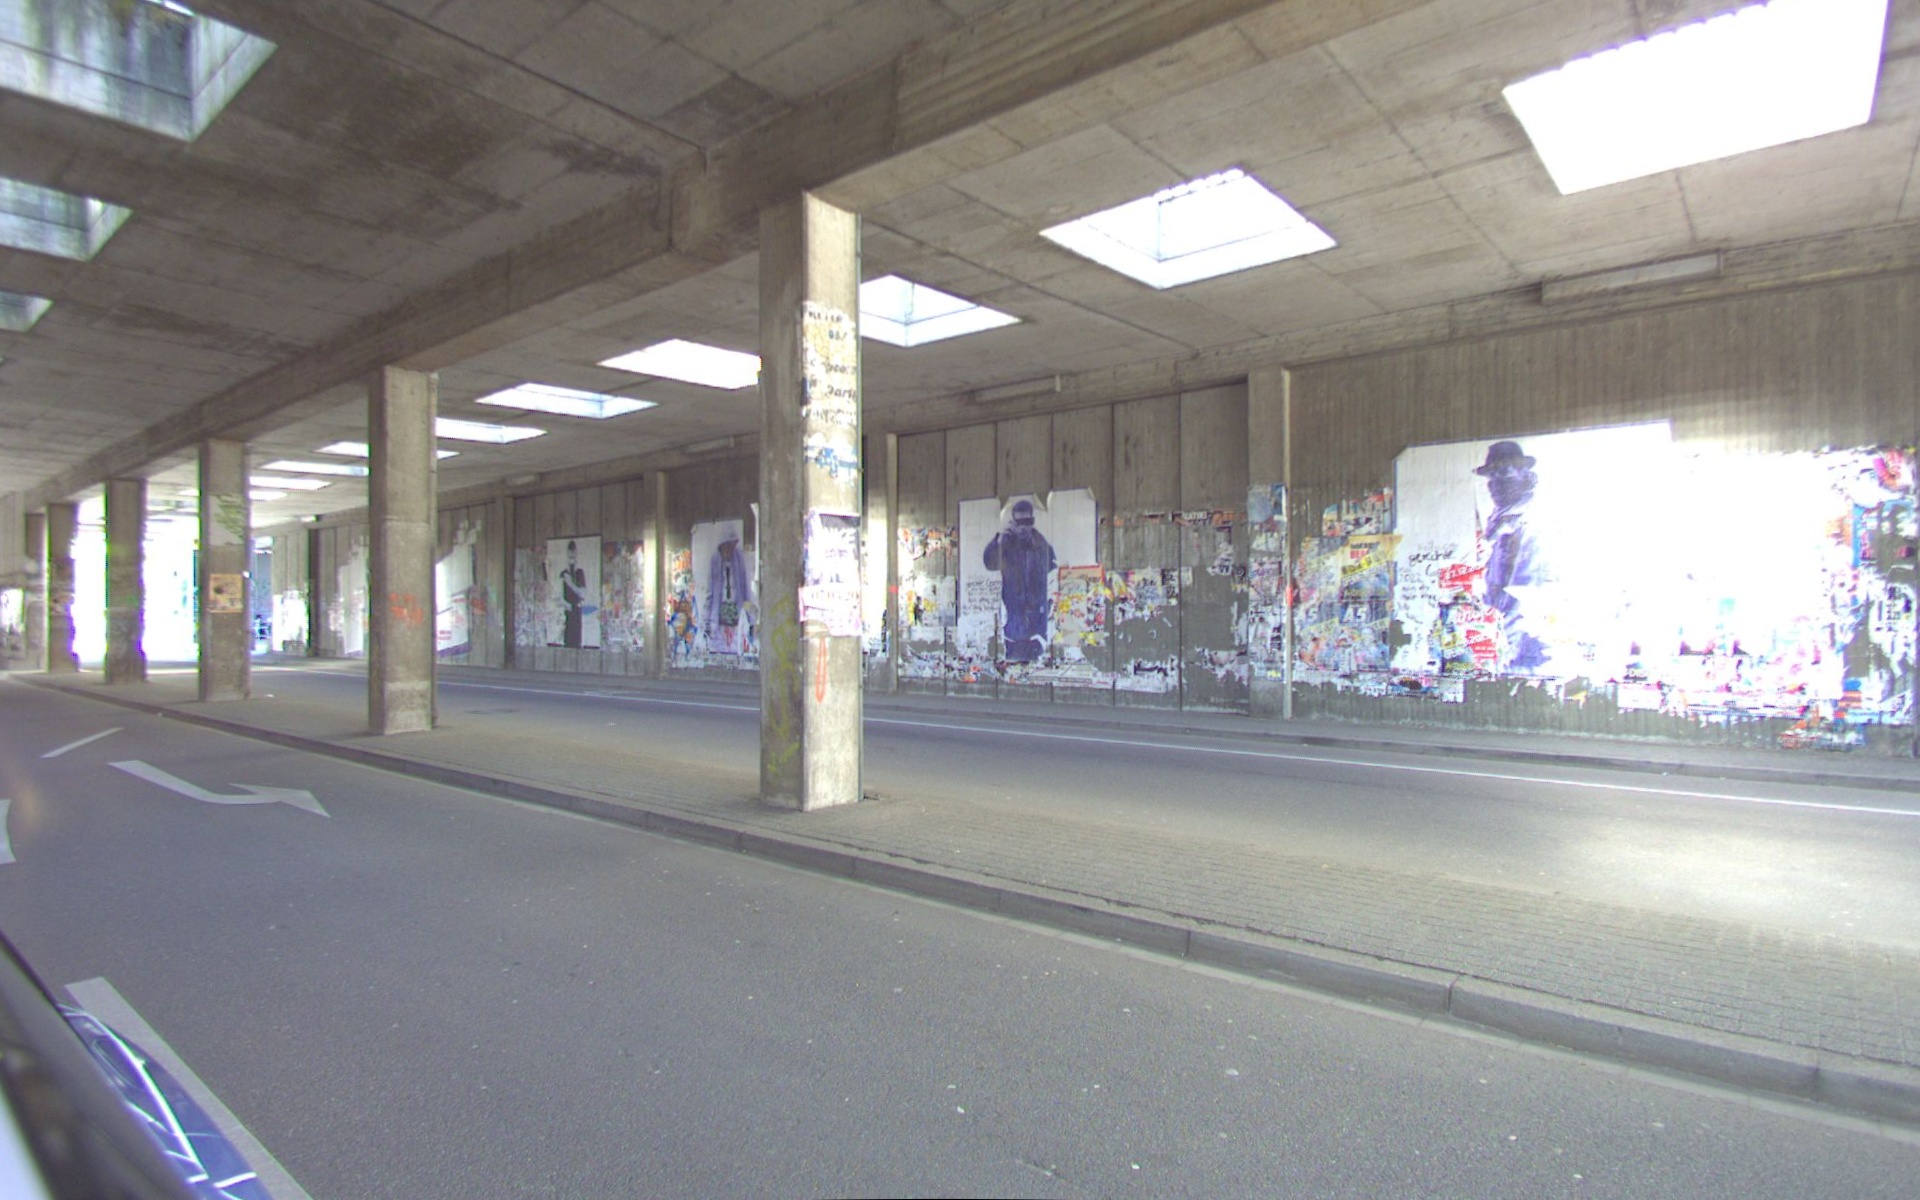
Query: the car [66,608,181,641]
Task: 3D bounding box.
[{"bbox_3d":[-48.312,1.421,58.542,1.996,1.848,4.757,-1,-2,36],"label":"car"}]
